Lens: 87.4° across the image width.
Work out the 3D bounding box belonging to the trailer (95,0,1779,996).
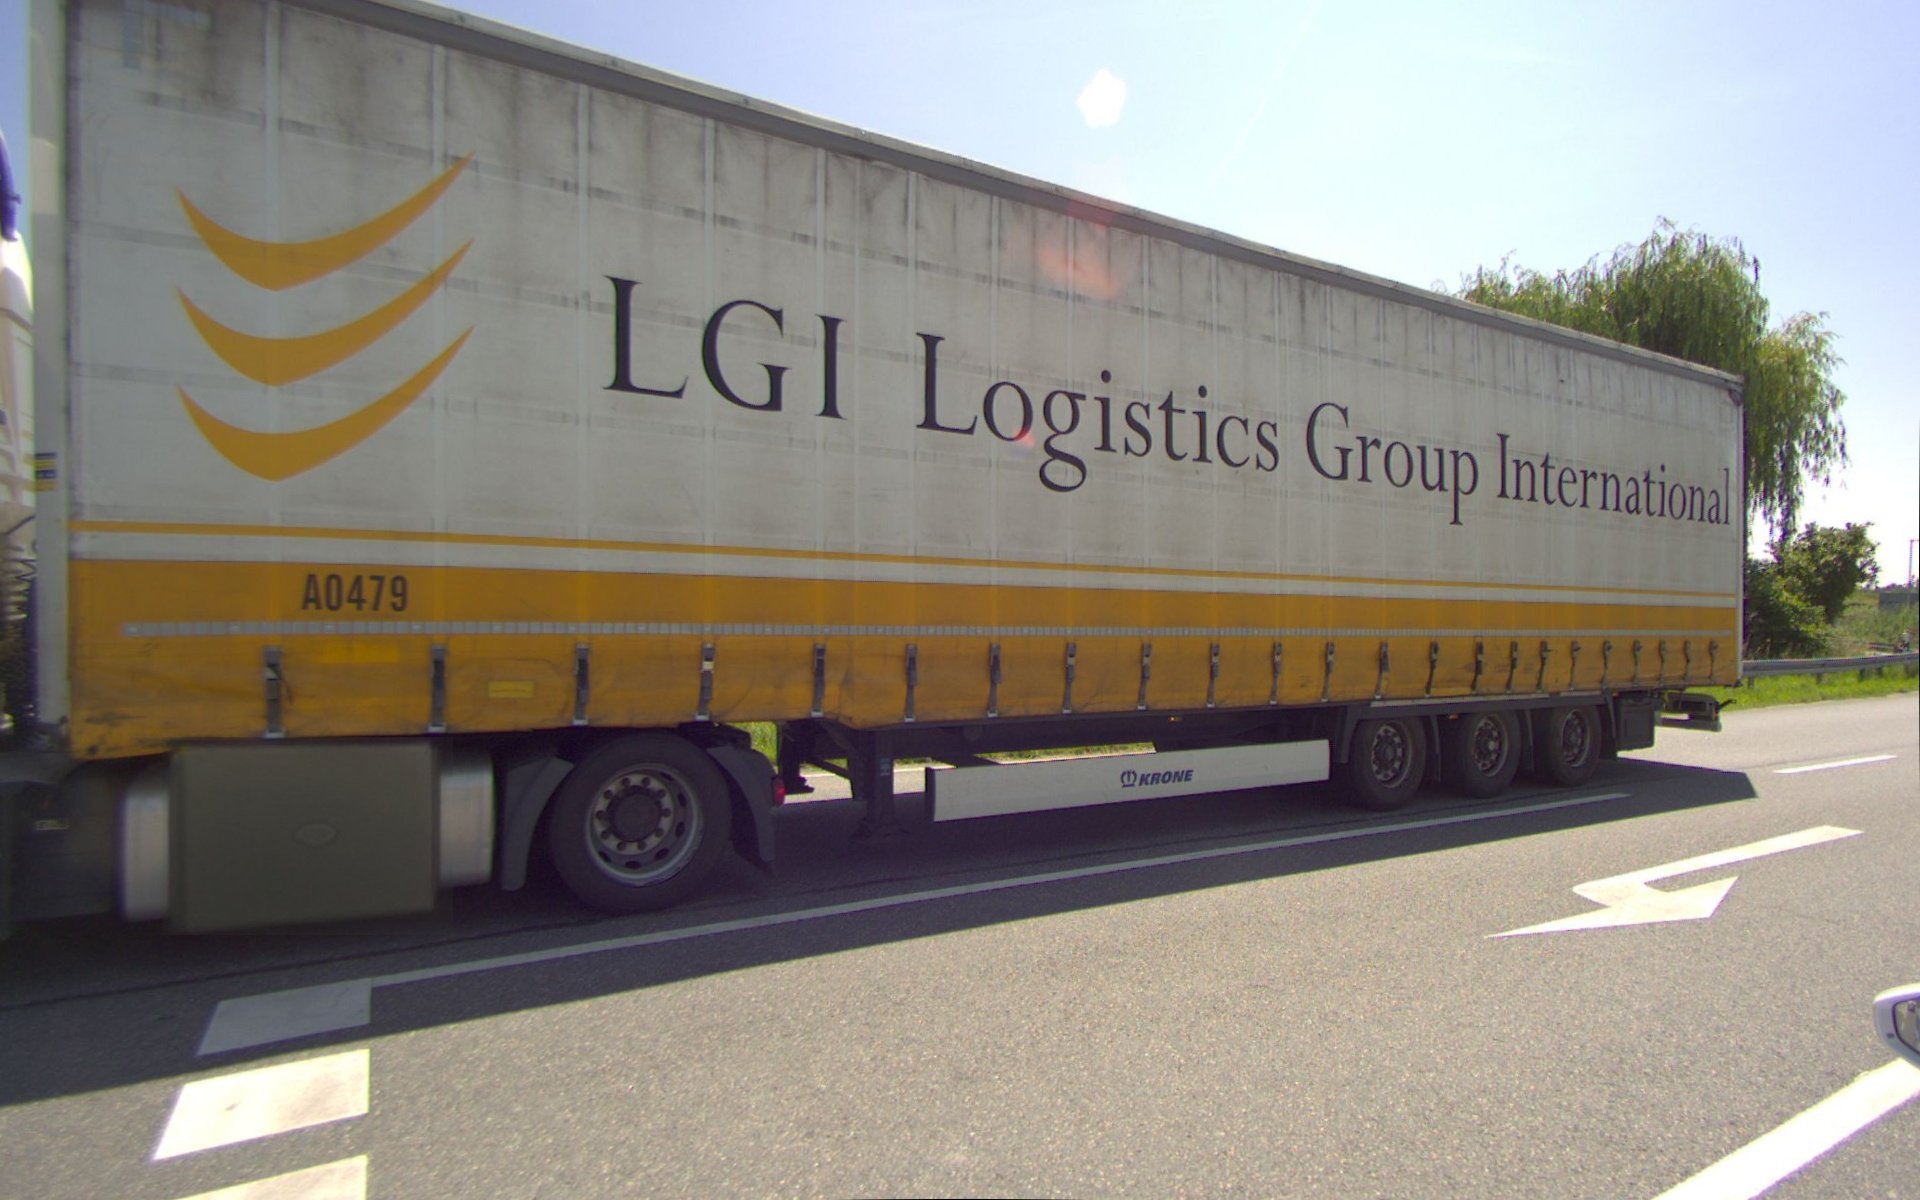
[{"bbox_3d":[1.965,-0.618,8.212,13.345,4.111,2.776,1,3,-31],"label":"trailer"}]

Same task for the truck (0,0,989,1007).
[{"bbox_3d":[-3.457,-0.675,4.996,6.674,4.111,2.776,0,3,-30],"label":"truck"}]
